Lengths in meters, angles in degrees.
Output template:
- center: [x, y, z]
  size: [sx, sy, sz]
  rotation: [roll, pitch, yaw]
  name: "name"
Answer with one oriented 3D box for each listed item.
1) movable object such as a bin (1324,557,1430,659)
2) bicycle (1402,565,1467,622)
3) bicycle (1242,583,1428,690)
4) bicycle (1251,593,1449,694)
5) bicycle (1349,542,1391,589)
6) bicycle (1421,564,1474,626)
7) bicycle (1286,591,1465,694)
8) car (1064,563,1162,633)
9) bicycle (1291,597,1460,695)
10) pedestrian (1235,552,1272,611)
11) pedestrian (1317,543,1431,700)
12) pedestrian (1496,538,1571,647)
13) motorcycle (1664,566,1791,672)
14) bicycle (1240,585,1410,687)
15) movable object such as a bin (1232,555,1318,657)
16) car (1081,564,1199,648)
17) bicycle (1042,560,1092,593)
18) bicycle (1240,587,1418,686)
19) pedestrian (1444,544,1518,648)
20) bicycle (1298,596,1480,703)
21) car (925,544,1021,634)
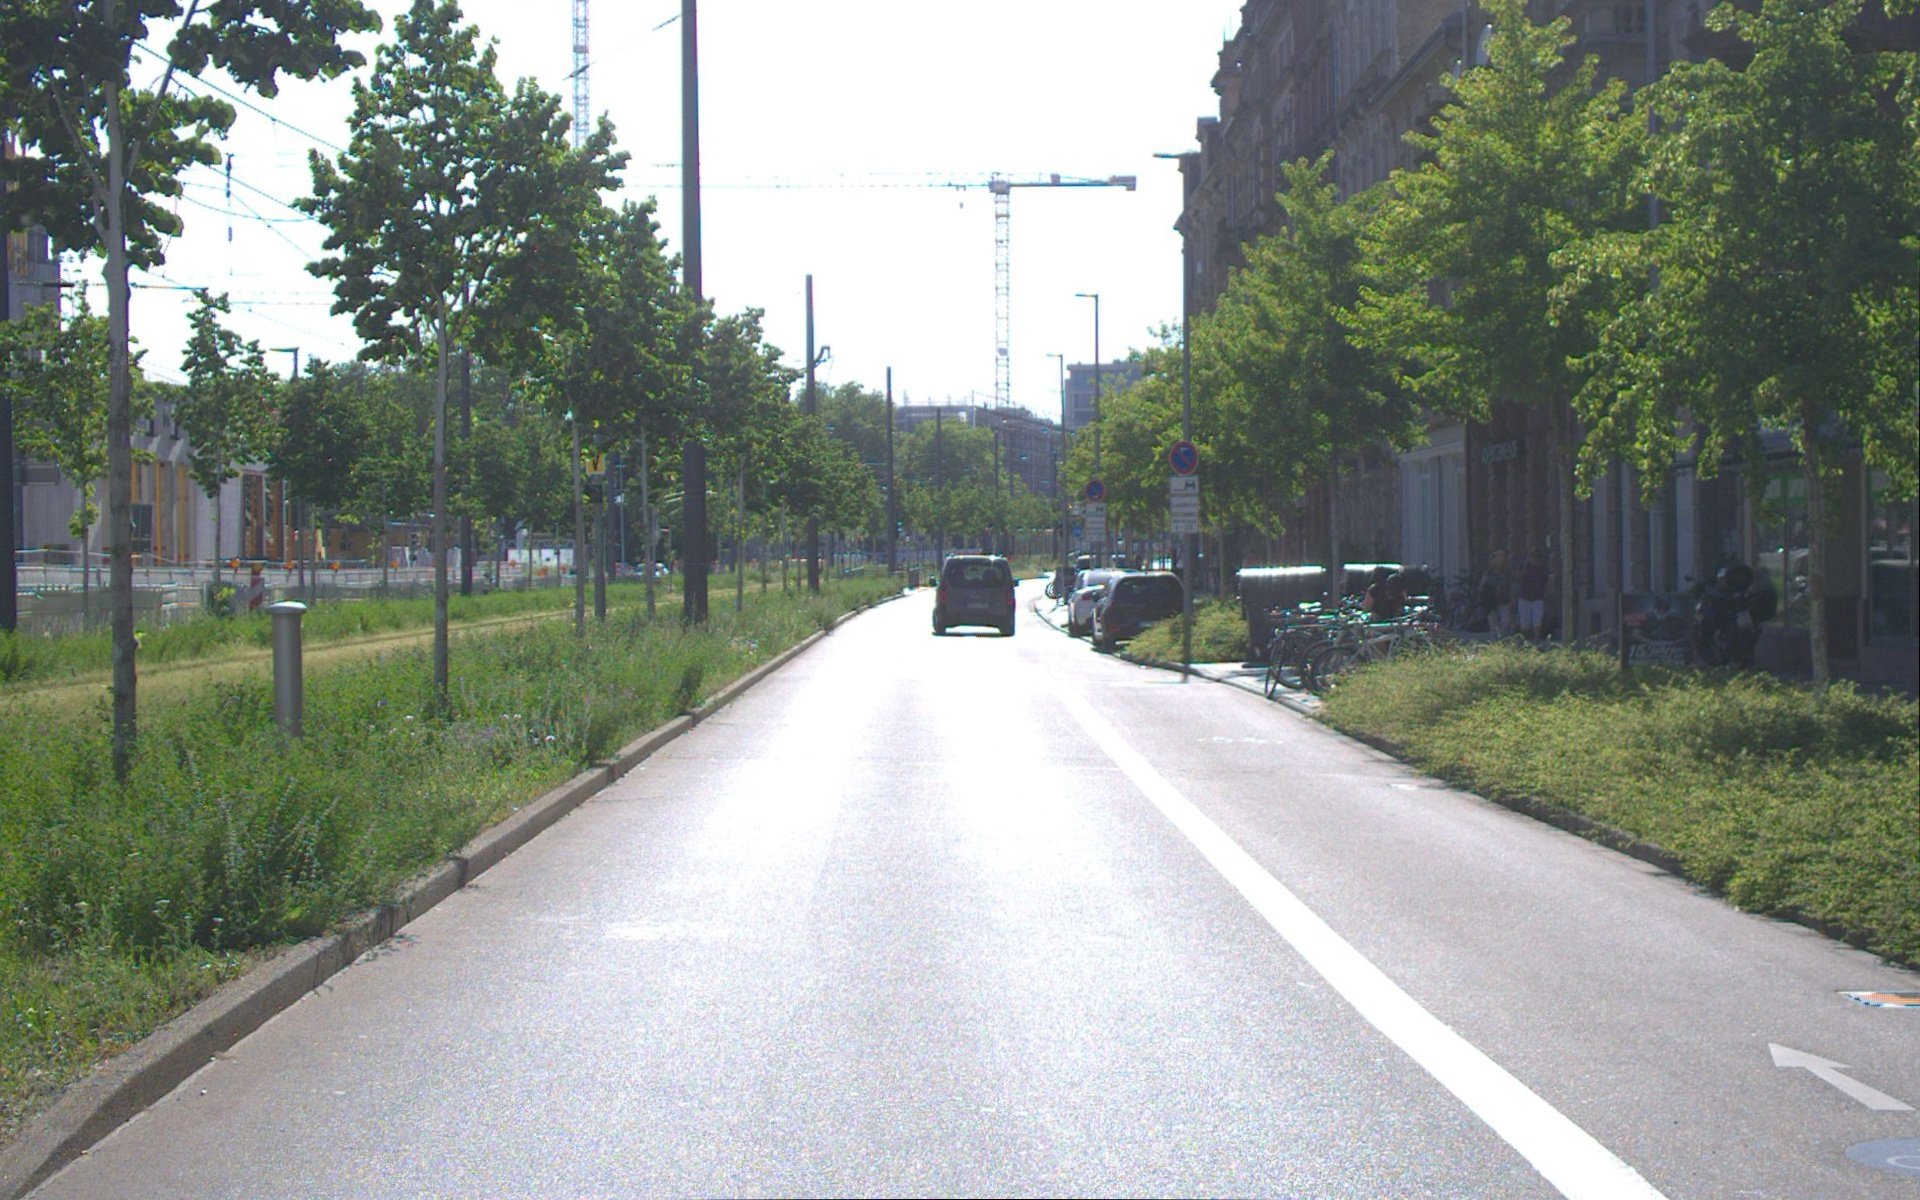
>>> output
- center: [6.434, 0.115, 53.163]
  size: [1.373, 1.490, 1.749]
  rotation: [-3, 0, 1]
  name: "movable object such as a bin"
- center: [9.813, -0.143, 71.196]
  size: [0.875, 1.101, 2.182]
  rotation: [-3, 1, -3]
  name: "bicycle"
- center: [4.499, 0.430, 41.254]
  size: [2.146, 1.150, 0.429]
  rotation: [-4, 1, -13]
  name: "bicycle"
- center: [4.643, 0.511, 40.910]
  size: [2.284, 1.098, 0.486]
  rotation: [-2, 0, -14]
  name: "bicycle"
- center: [9.812, -0.838, 82.325]
  size: [0.721, 1.086, 2.198]
  rotation: [-1, 1, 0]
  name: "bicycle"
- center: [9.654, -0.105, 68.130]
  size: [0.748, 1.197, 1.801]
  rotation: [-1, 0, 0]
  name: "bicycle"
- center: [4.800, 0.488, 39.744]
  size: [1.977, 1.104, 0.435]
  rotation: [-2, 0, -3]
  name: "bicycle"
- center: [3.468, -0.075, 78.580]
  size: [1.951, 1.490, 5.105]
  rotation: [-2, 1, 0]
  name: "car"
- center: [4.759, 0.521, 39.401]
  size: [1.814, 1.052, 0.572]
  rotation: [-2, 0, -6]
  name: "bicycle"
- center: [8.569, -0.539, 100.373]
  size: [0.996, 1.725, 0.866]
  rotation: [1, 0, 0]
  name: "pedestrian"
- center: [4.764, 0.244, 39.530]
  size: [0.848, 1.730, 0.901]
  rotation: [-3, 1, 38]
  name: "pedestrian"
- center: [8.919, -0.123, 53.476]
  size: [0.971, 1.633, 0.992]
  rotation: [-1, 2, 0]
  name: "pedestrian"
- center: [9.496, 0.223, 42.678]
  size: [0.866, 1.262, 2.982]
  rotation: [1, 0, -1]
  name: "motorcycle"
- center: [4.534, 0.446, 42.746]
  size: [1.974, 1.120, 0.482]
  rotation: [-4, 2, -5]
  name: "bicycle"
- center: [4.839, 0.082, 52.989]
  size: [1.271, 1.458, 1.643]
  rotation: [1, 3, 4]
  name: "movable object such as a bin"
- center: [3.412, 0.116, 65.873]
  size: [1.765, 1.472, 4.449]
  rotation: [-3, 0, -3]
  name: "car"
- center: [4.214, -0.939, 135.944]
  size: [1.878, 1.229, 0.500]
  rotation: [-3, 0, -5]
  name: "bicycle"
- center: [4.542, 0.445, 42.338]
  size: [2.043, 1.103, 0.611]
  rotation: [-3, 0, -6]
  name: "bicycle"
- center: [8.128, -0.072, 53.657]
  size: [0.950, 1.561, 1.080]
  rotation: [-1, 2, -1]
  name: "pedestrian"
- center: [4.727, 0.539, 37.928]
  size: [1.891, 1.105, 0.518]
  rotation: [-2, 0, -5]
  name: "bicycle"
- center: [0.267, -0.250, 79.214]
  size: [1.993, 2.007, 4.000]
  rotation: [1, 0, -3]
  name: "car"
